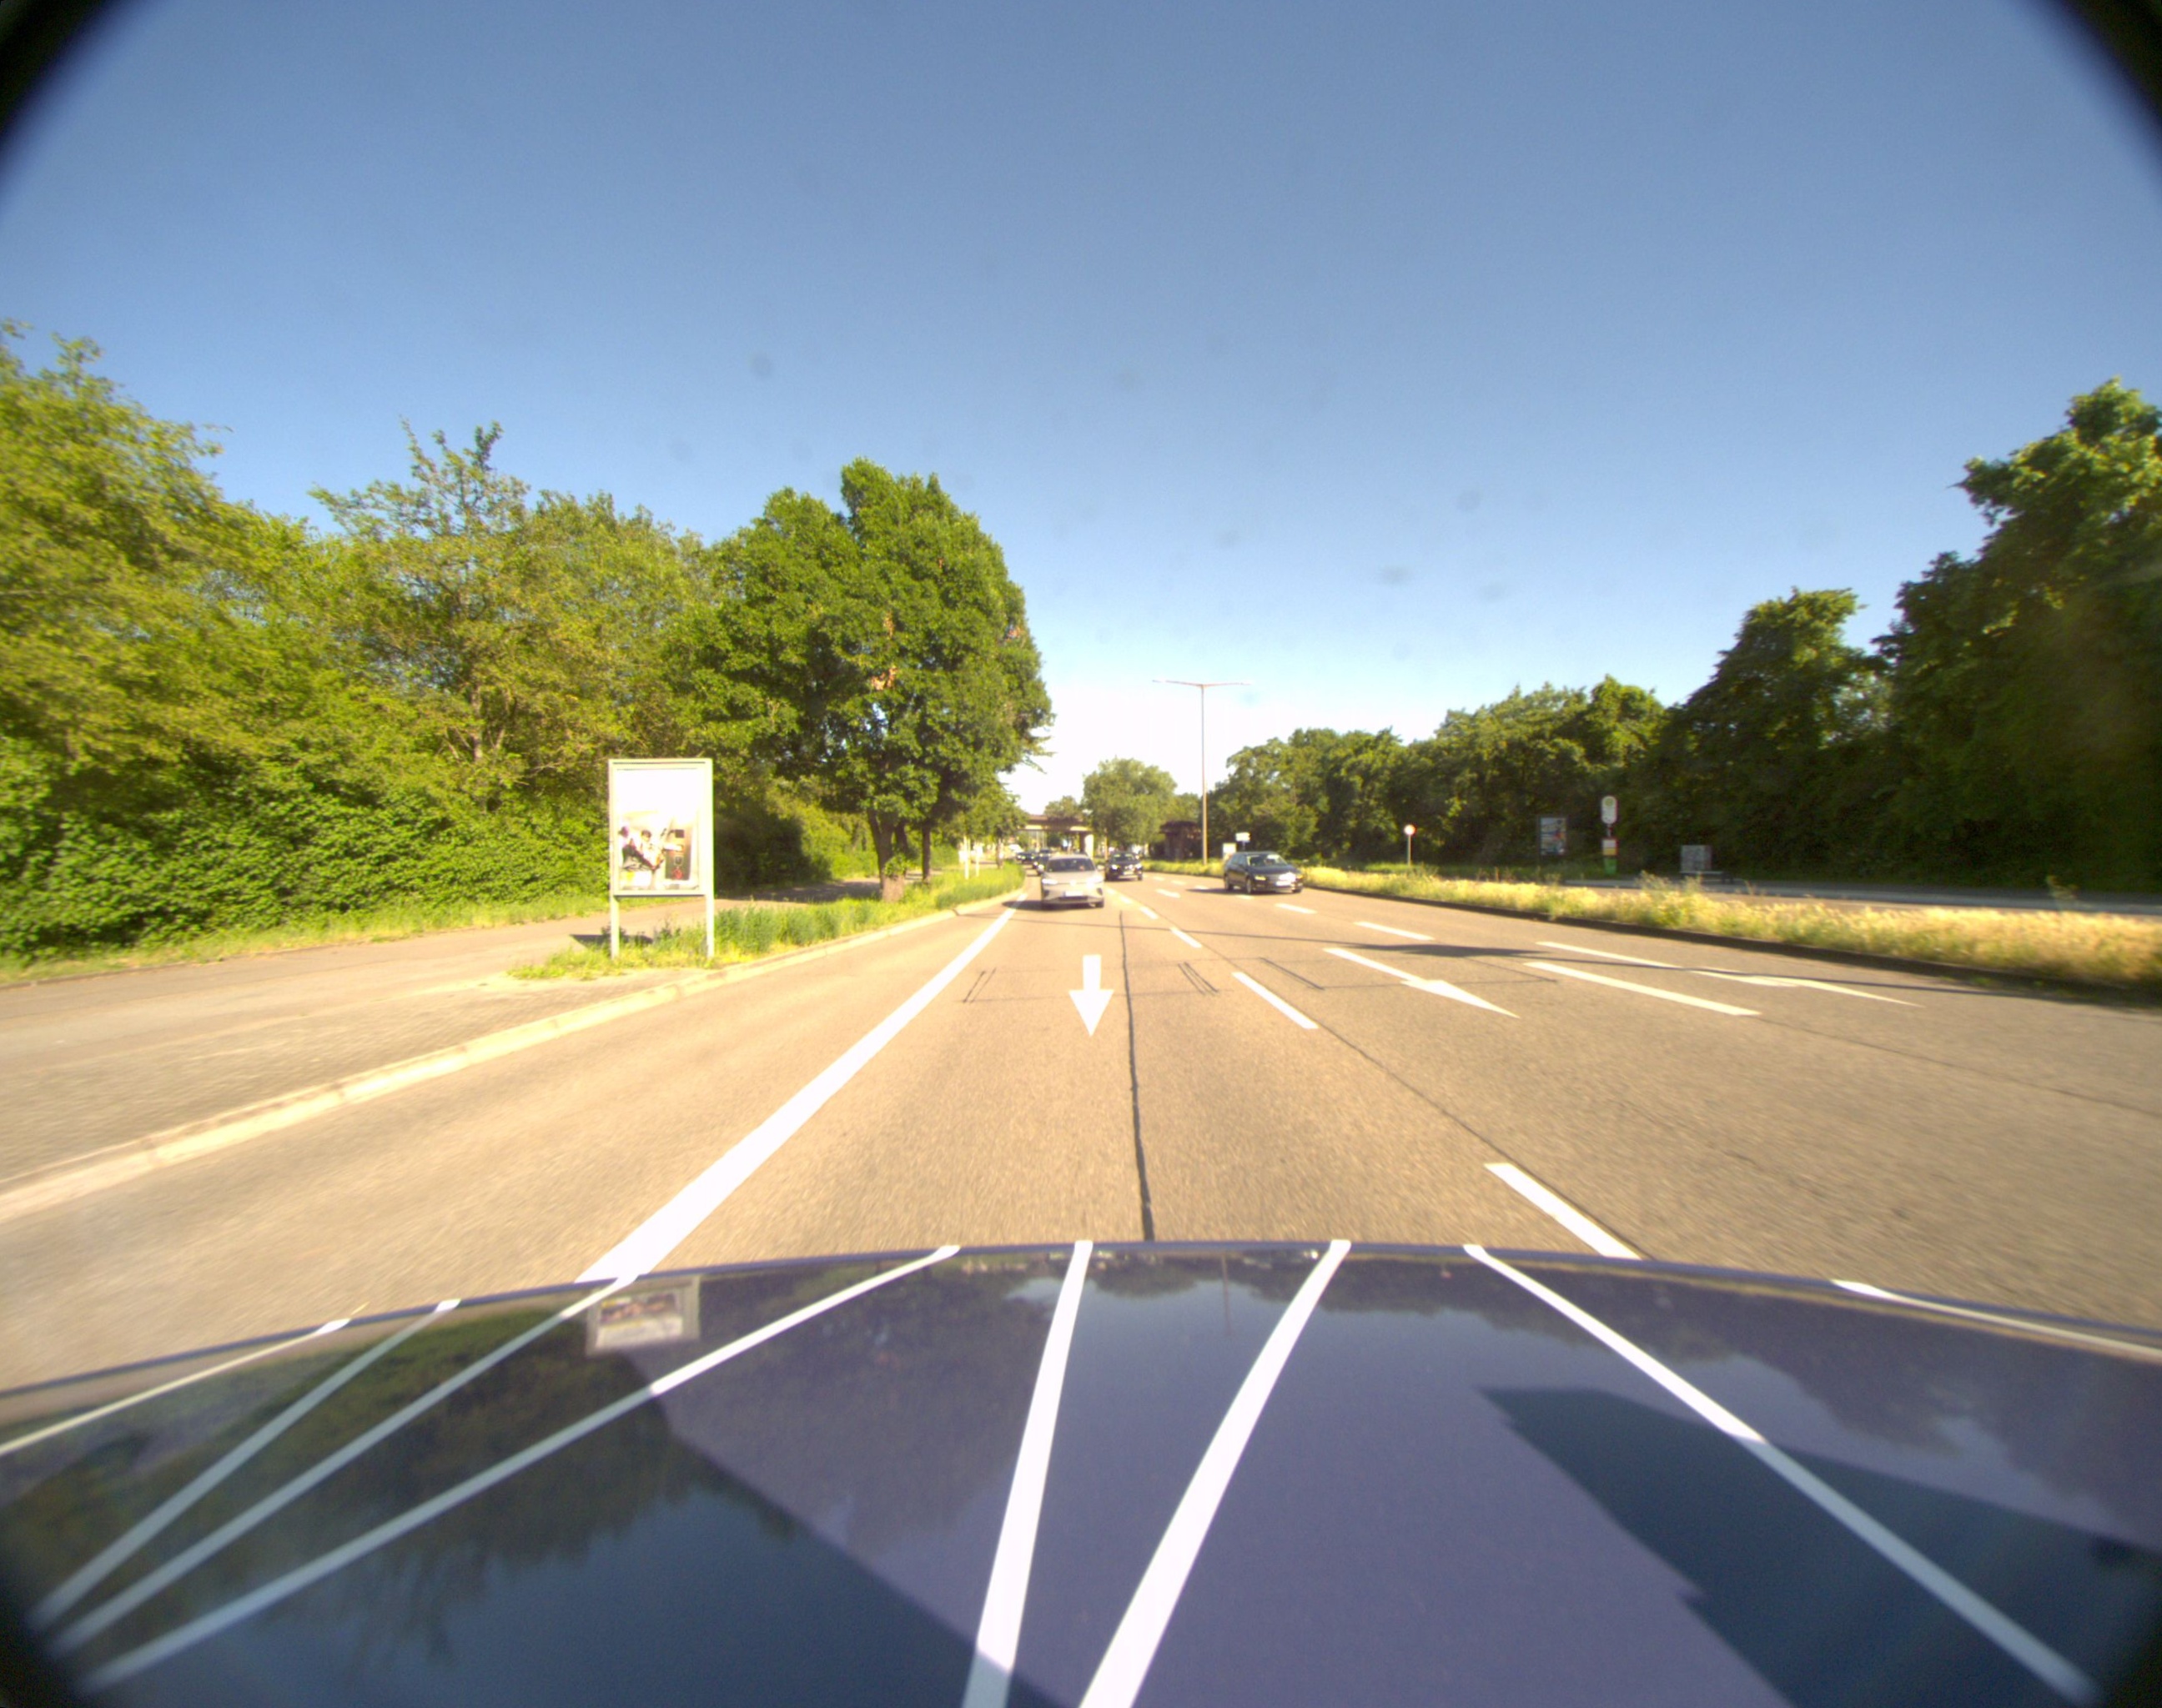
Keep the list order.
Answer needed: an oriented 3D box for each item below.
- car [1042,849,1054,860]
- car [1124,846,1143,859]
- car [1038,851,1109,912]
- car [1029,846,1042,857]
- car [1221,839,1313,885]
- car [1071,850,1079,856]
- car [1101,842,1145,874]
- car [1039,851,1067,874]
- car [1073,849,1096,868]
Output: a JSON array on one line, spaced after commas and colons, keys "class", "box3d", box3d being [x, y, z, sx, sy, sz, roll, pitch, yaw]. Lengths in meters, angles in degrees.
[{"class": "car", "box3d": [-6.027, 0.048, 139.261, 1.999, 2.002, 3.999, -1, 0, -3]}, {"class": "car", "box3d": [6.853, -0.229, 99.595, 1.874, 1.611, 3.835, -2, 0, -4]}, {"class": "car", "box3d": [-0.144, 0.773, 23.740, 1.801, 1.664, 4.240, -2, 0, 4]}, {"class": "car", "box3d": [-6.994, -0.394, 115.437, 1.874, 1.611, 3.834, -2, 0, -4]}, {"class": "car", "box3d": [6.556, 0.274, 27.233, 1.796, 1.487, 3.998, -1, 0, -8]}, {"class": "car", "box3d": [-1.834, -0.356, 226.759, 1.715, 1.653, 3.853, -1, 0, -8]}, {"class": "car", "box3d": [2.295, 0.204, 42.657, 1.715, 1.653, 3.853, -2, 0, -8]}, {"class": "car", "box3d": [-2.062, 0.636, 56.824, 1.873, 1.611, 3.836, -2, 0, 0]}, {"class": "car", "box3d": [0.312, 0.369, 71.374, 1.714, 1.653, 3.854, -2, 0, -5]}]
